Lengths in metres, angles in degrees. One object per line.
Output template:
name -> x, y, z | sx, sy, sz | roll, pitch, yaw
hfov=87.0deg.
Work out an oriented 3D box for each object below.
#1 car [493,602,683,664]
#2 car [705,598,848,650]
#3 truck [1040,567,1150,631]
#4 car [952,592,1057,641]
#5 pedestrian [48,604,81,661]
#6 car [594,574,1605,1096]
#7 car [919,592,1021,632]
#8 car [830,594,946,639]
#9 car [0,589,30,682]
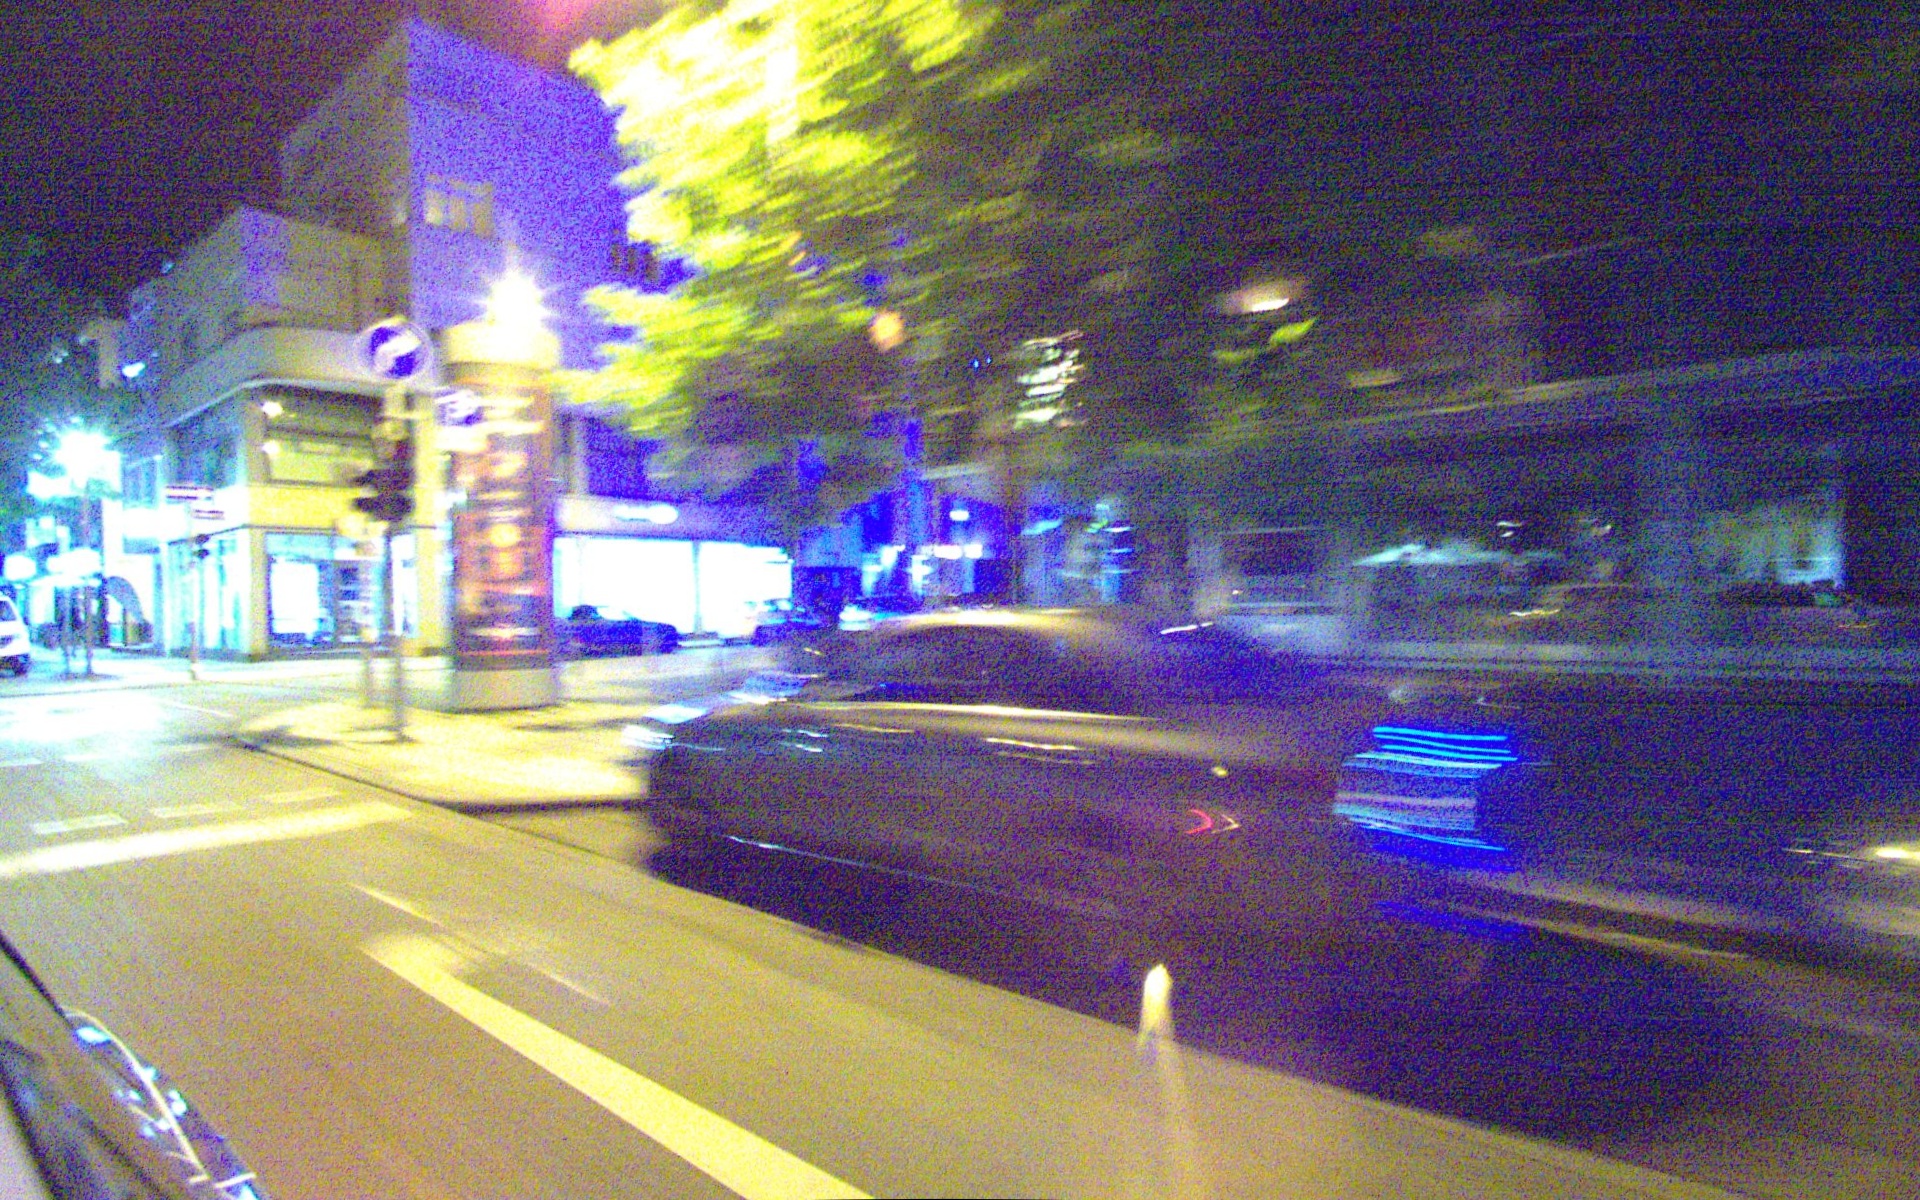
car -> -9.535, 0.804, 26.224 | 1.802, 1.408, 4.285 | -1, 0, 40
car -> -5.560, 0.692, 31.067 | 1.802, 1.448, 4.094 | -1, 0, 40
truck -> 4.635, -0.025, 34.448 | 1.857, 2.038, 3.988 | -1, 0, 40
car -> 1.368, 0.469, 30.560 | 1.658, 1.395, 3.059 | -1, 0, 40
pedestrian -> -28.815, 1.034, 32.549 | 0.716, 1.820, 0.710 | -1, -1, 41
car -> 0.242, 0.691, 5.165 | 4.919, 1.435, 1.788 | -1, 2, 41
car -> 0.424, 0.439, 38.336 | 1.802, 1.406, 3.858 | -1, 0, 40
car -> -2.425, 0.548, 34.896 | 1.802, 1.406, 3.858 | -1, 0, 40
car -> -24.128, 0.881, 24.136 | 5.080, 2.102, 1.836 | -1, 2, 36
